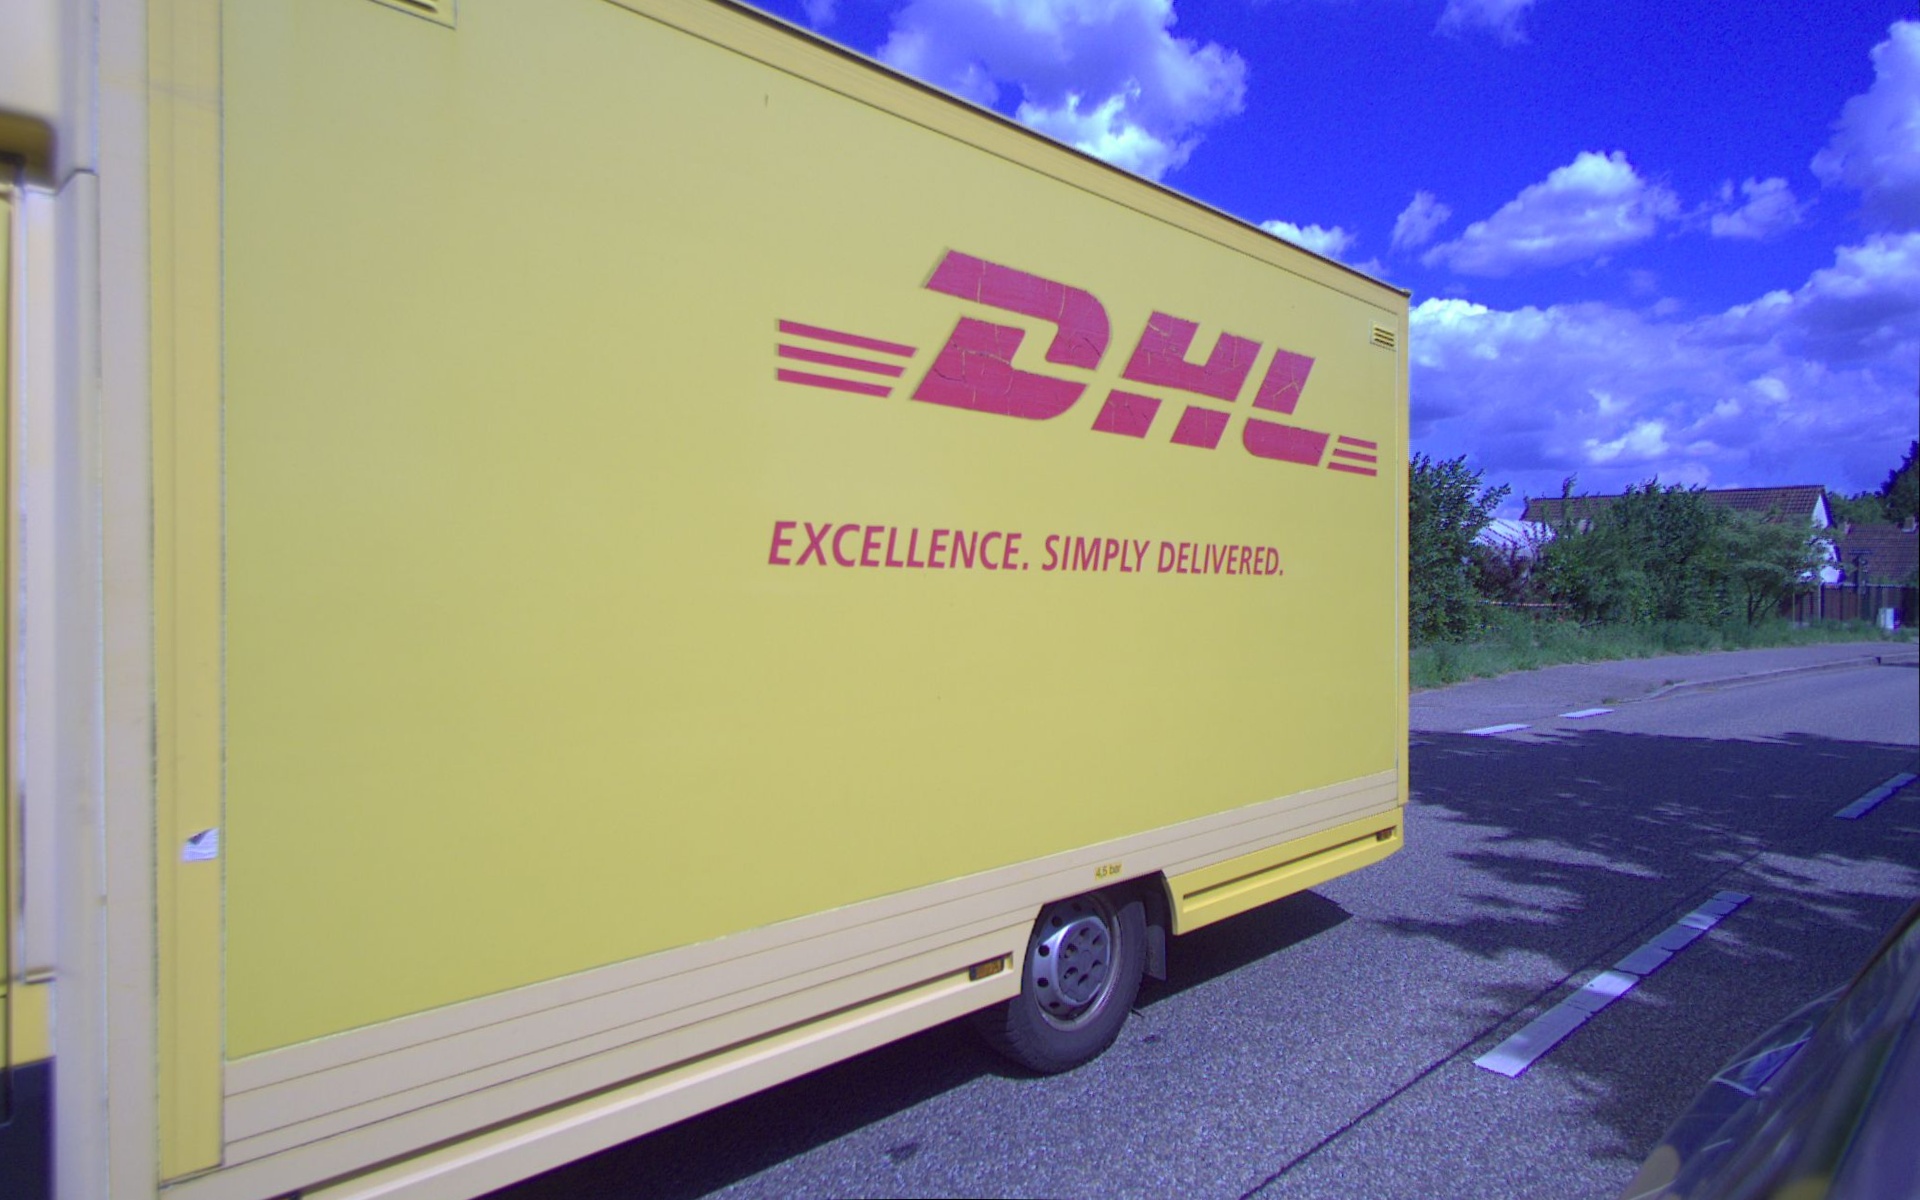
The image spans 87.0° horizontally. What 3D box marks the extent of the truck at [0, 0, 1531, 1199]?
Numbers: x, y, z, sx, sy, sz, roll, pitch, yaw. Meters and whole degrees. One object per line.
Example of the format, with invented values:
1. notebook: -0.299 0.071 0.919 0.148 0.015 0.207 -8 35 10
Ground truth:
1. truck: -0.828 -0.061 3.437 7.886 2.917 2.269 0 0 -41
